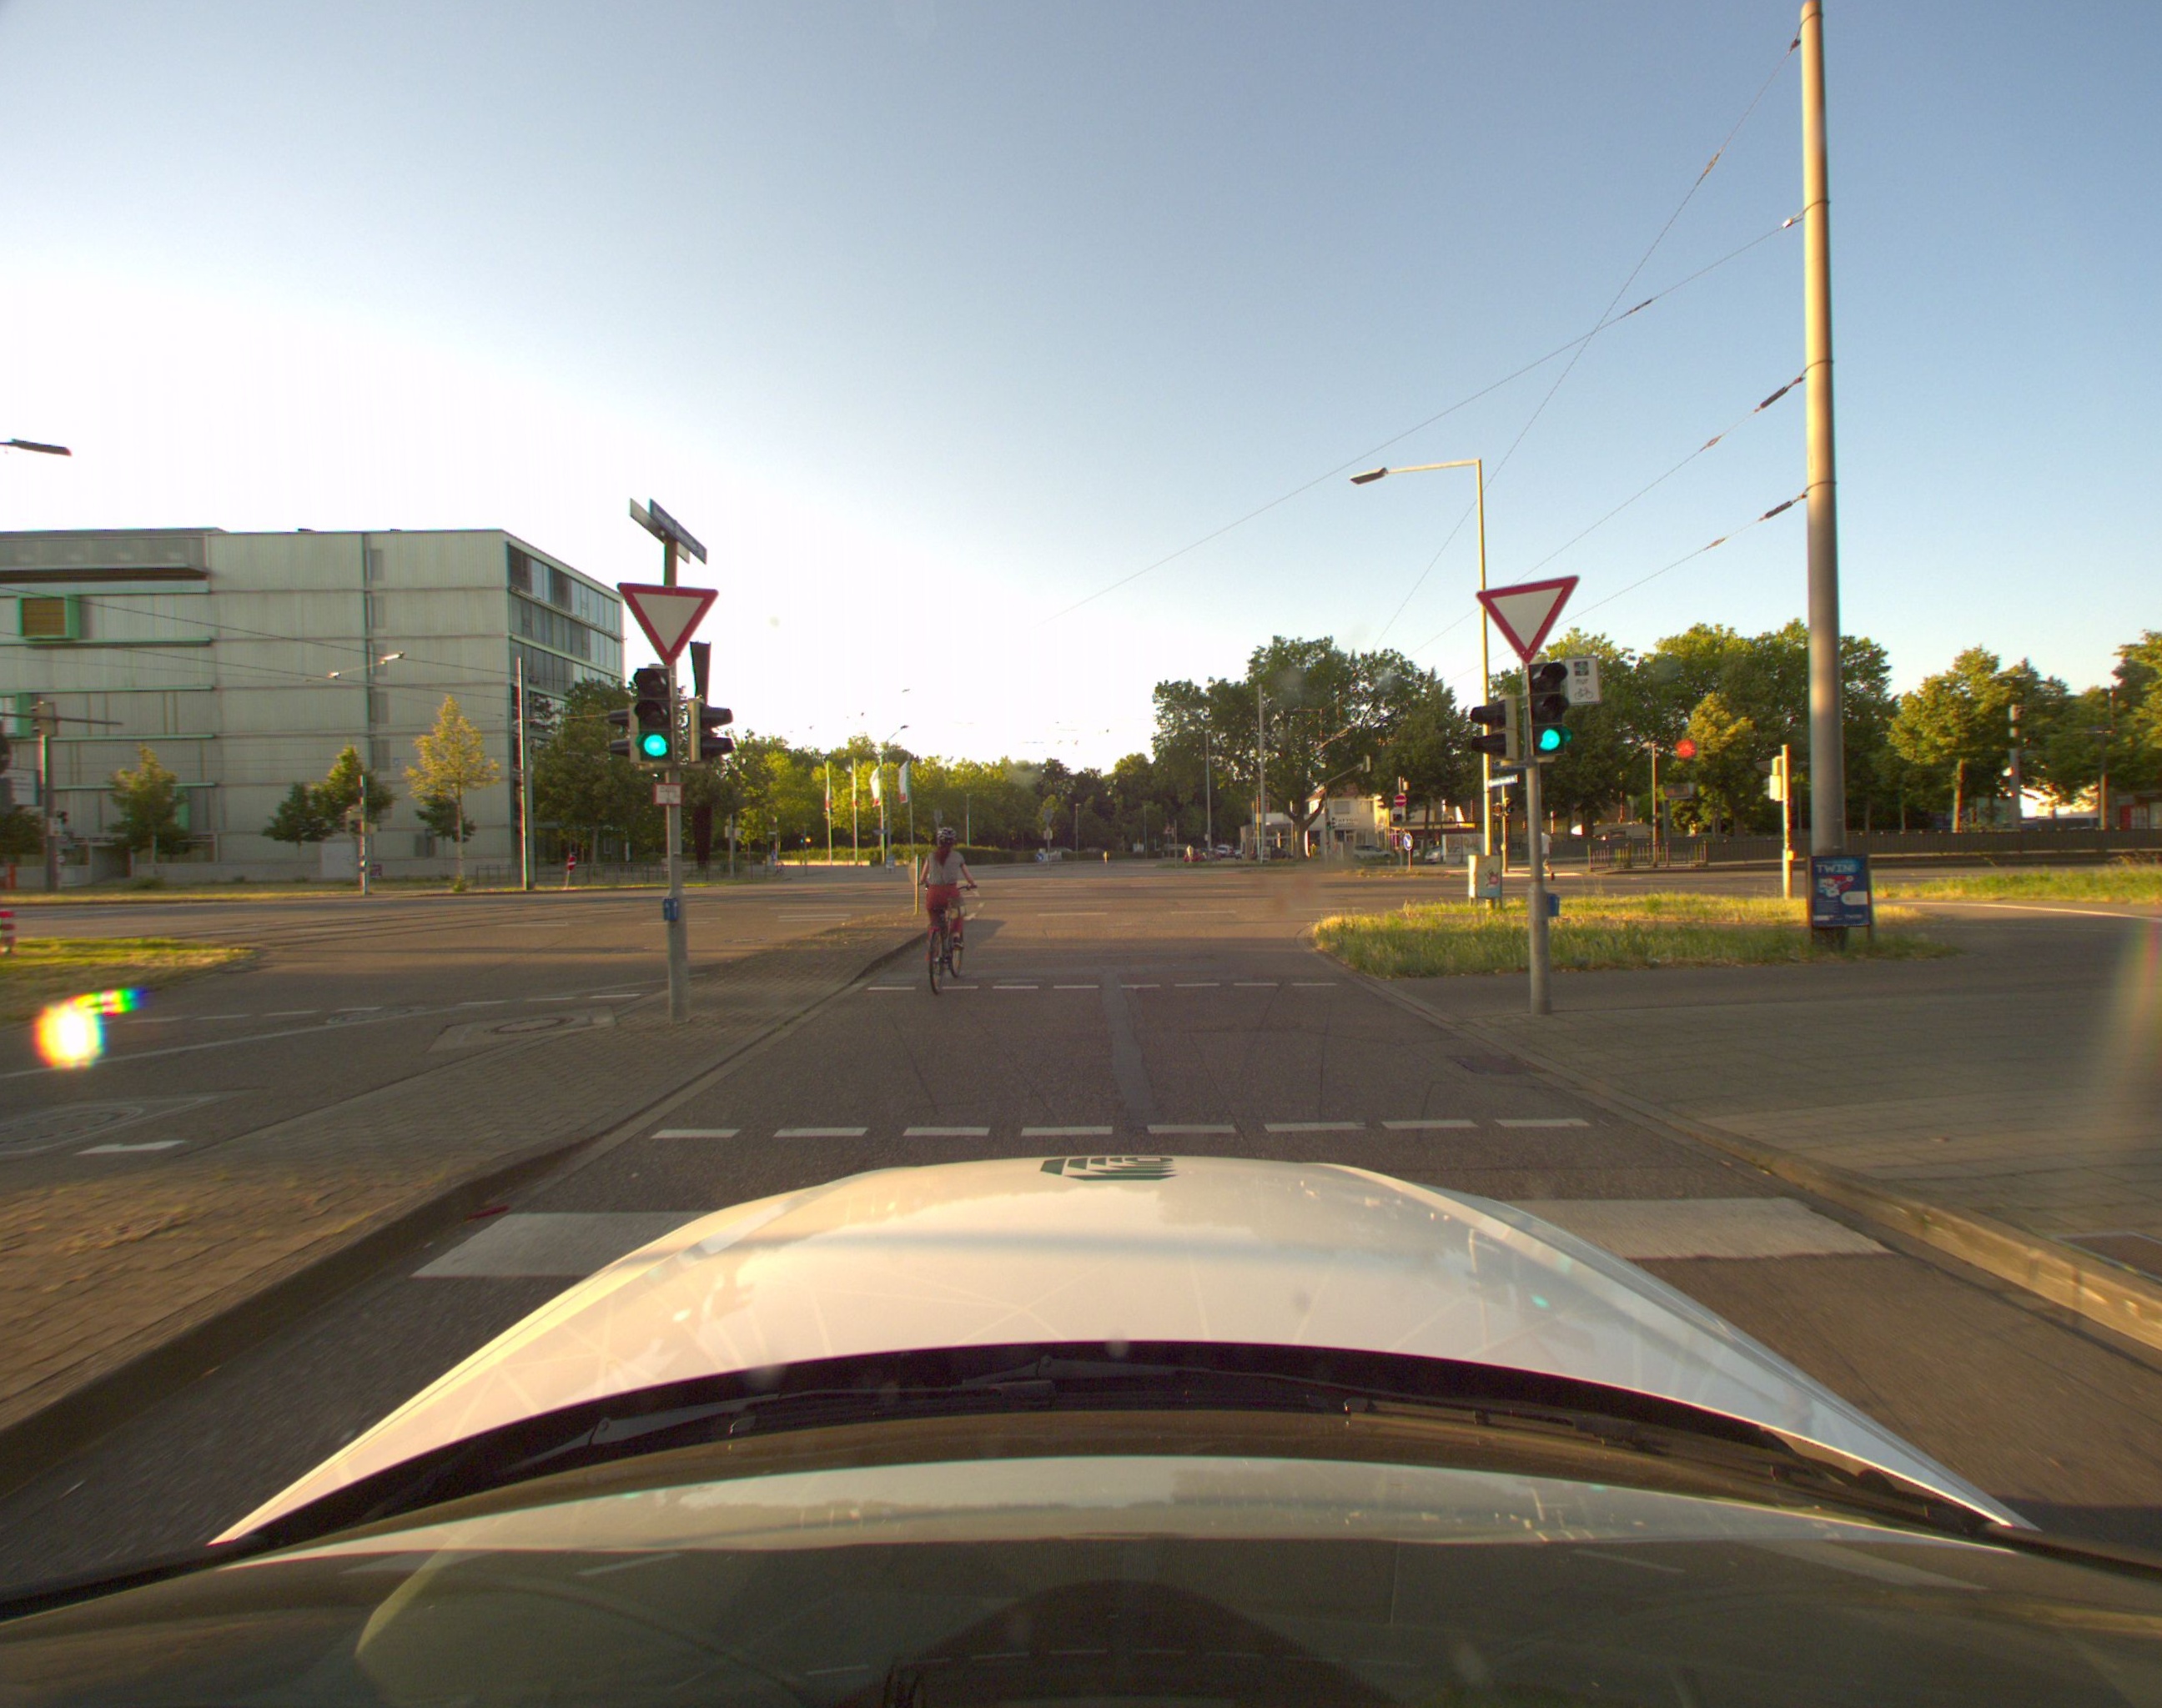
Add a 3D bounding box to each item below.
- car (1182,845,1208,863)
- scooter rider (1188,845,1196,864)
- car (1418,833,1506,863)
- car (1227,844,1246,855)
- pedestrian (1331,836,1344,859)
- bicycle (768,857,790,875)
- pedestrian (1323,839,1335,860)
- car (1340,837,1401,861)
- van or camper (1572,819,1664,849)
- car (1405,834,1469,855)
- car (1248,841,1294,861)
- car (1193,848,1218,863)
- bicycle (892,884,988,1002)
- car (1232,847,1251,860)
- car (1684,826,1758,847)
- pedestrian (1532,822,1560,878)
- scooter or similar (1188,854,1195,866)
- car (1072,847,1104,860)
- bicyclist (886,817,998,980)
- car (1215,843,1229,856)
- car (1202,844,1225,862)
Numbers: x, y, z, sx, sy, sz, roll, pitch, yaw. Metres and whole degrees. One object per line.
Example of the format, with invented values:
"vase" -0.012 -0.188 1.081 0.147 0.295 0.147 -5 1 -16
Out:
"car" 12.464 0.034 88.796 1.852 1.874 3.896 -1 0 23
"scooter rider" 10.546 0.057 77.306 0.700 1.855 0.669 -1 -1 1
"car" 23.277 -0.369 49.797 4.523 1.728 1.860 -1 0 -3
"car" 23.311 -0.660 121.672 1.739 1.541 4.426 -2 -1 25
"pedestrian" 19.152 -0.486 60.816 0.712 1.754 0.903 -1 0 26
"bicycle" -21.118 0.830 57.023 0.697 1.136 2.391 -1 0 -1
"pedestrian" 18.950 -0.342 62.179 0.712 1.639 0.903 -1 0 26
"car" 23.223 -0.385 65.360 4.211 1.846 2.002 -1 0 4
"van or camper" 47.507 -1.722 72.156 6.531 2.410 2.268 -1 0 5
"car" 28.231 -0.764 64.623 4.211 1.577 2.002 -1 0 4
"car" 19.091 -0.302 81.944 4.354 1.835 1.952 -1 0 6
"car" 14.147 0.115 92.583 1.976 1.574 4.021 -1 1 21
"bicycle" -1.534 0.929 9.208 0.632 1.068 2.123 -1 0 2
"car" 21.306 -0.065 108.238 1.899 1.602 4.020 -1 1 19
"car" 50.649 -1.370 64.487 4.211 1.464 2.002 -1 0 4
"pedestrian" 15.095 -0.141 26.410 0.754 1.791 0.807 0 0 32
"scooter or similar" 10.524 0.543 77.333 0.508 1.090 1.243 -1 0 2
"car" 0.918 -0.108 102.891 3.970 1.561 2.002 -1 0 3
"bicyclist" -1.537 0.475 9.207 1.028 1.717 0.996 -1 0 1
"car" 21.429 -0.689 124.139 1.982 2.013 4.010 -1 0 9
"car" 15.710 -0.186 96.372 1.899 2.047 4.020 -1 0 19
